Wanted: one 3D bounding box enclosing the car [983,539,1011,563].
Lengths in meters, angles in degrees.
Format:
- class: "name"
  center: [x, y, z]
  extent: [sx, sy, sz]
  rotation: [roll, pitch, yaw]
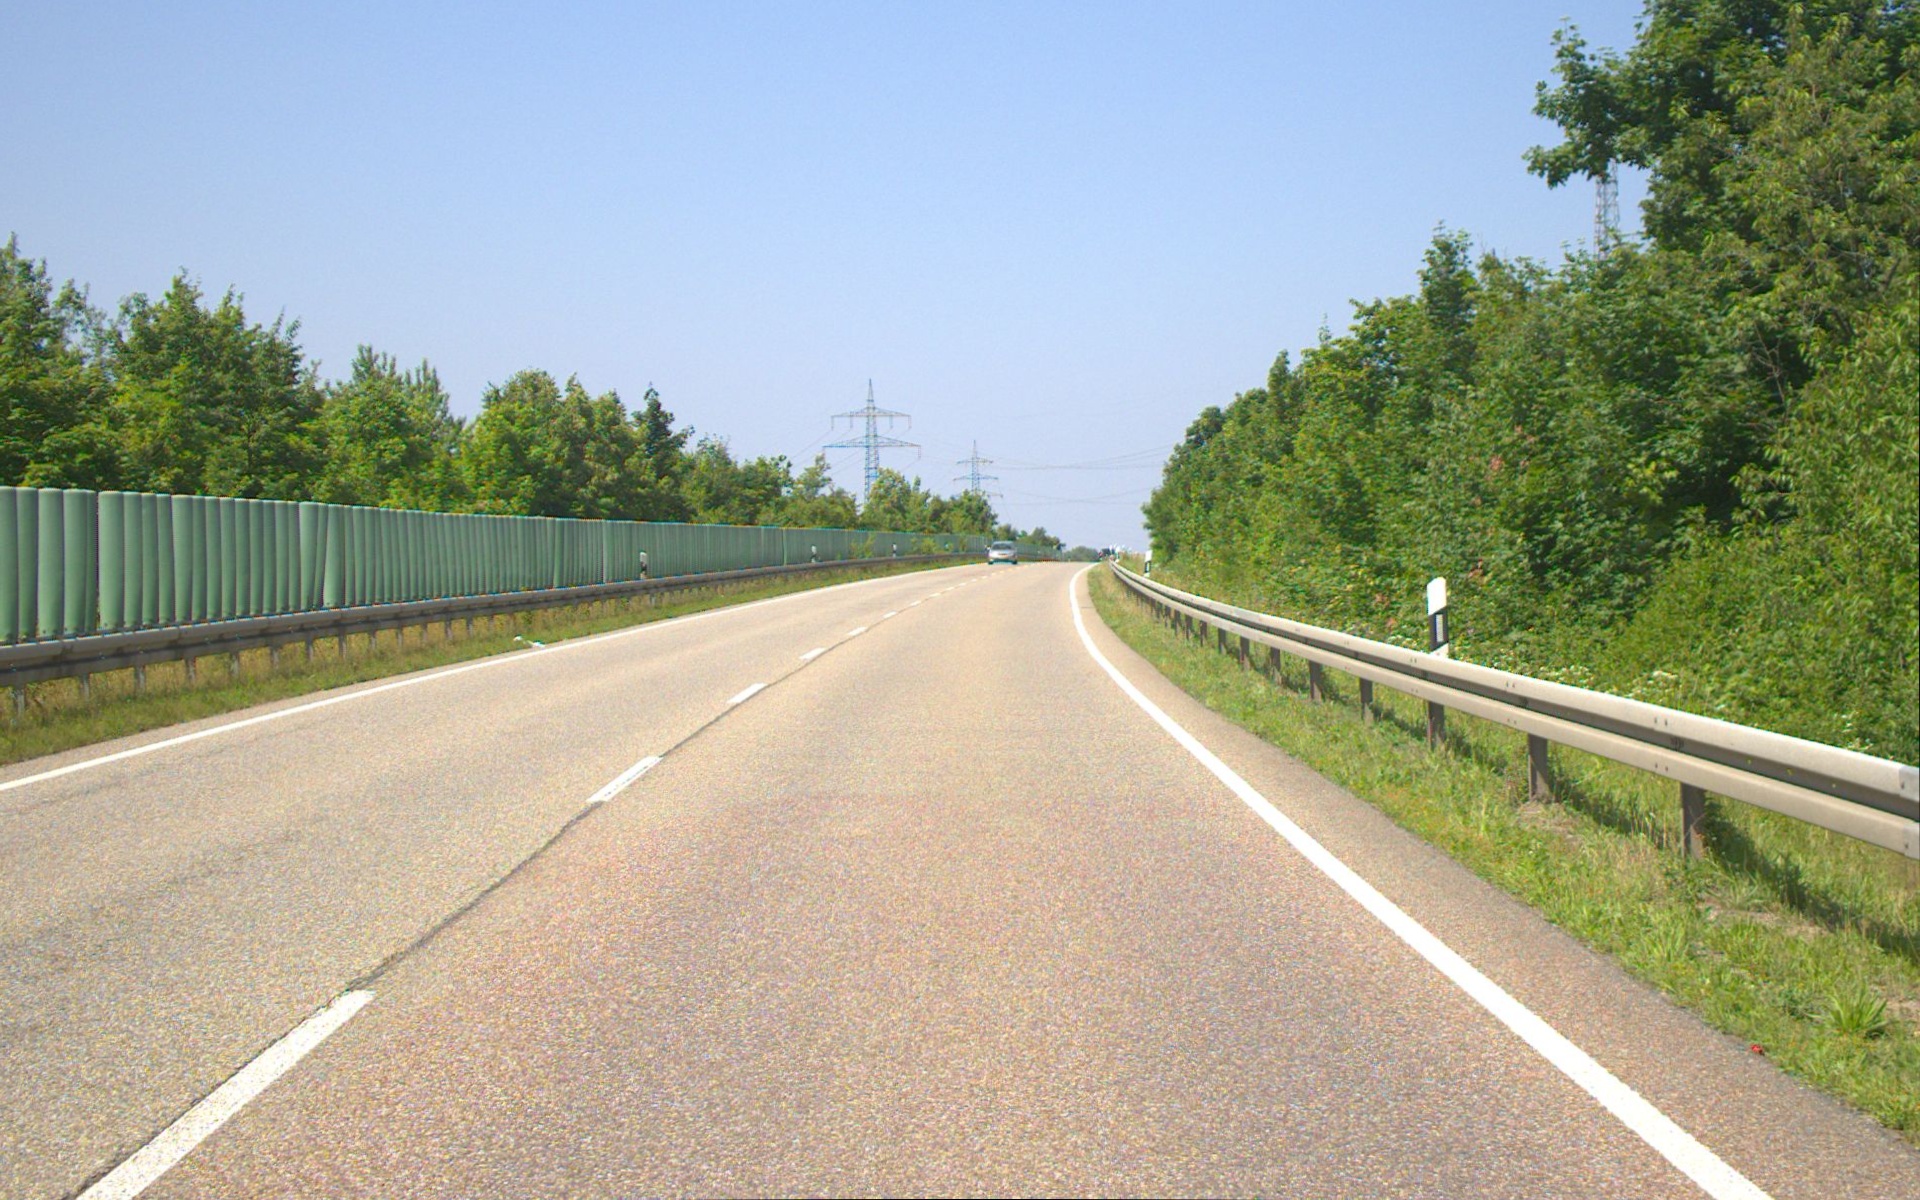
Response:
- class: "car"
  center: [2.355, -3.157, 220.662]
  extent: [1.720, 1.496, 4.248]
  rotation: [0, 1, 2]
